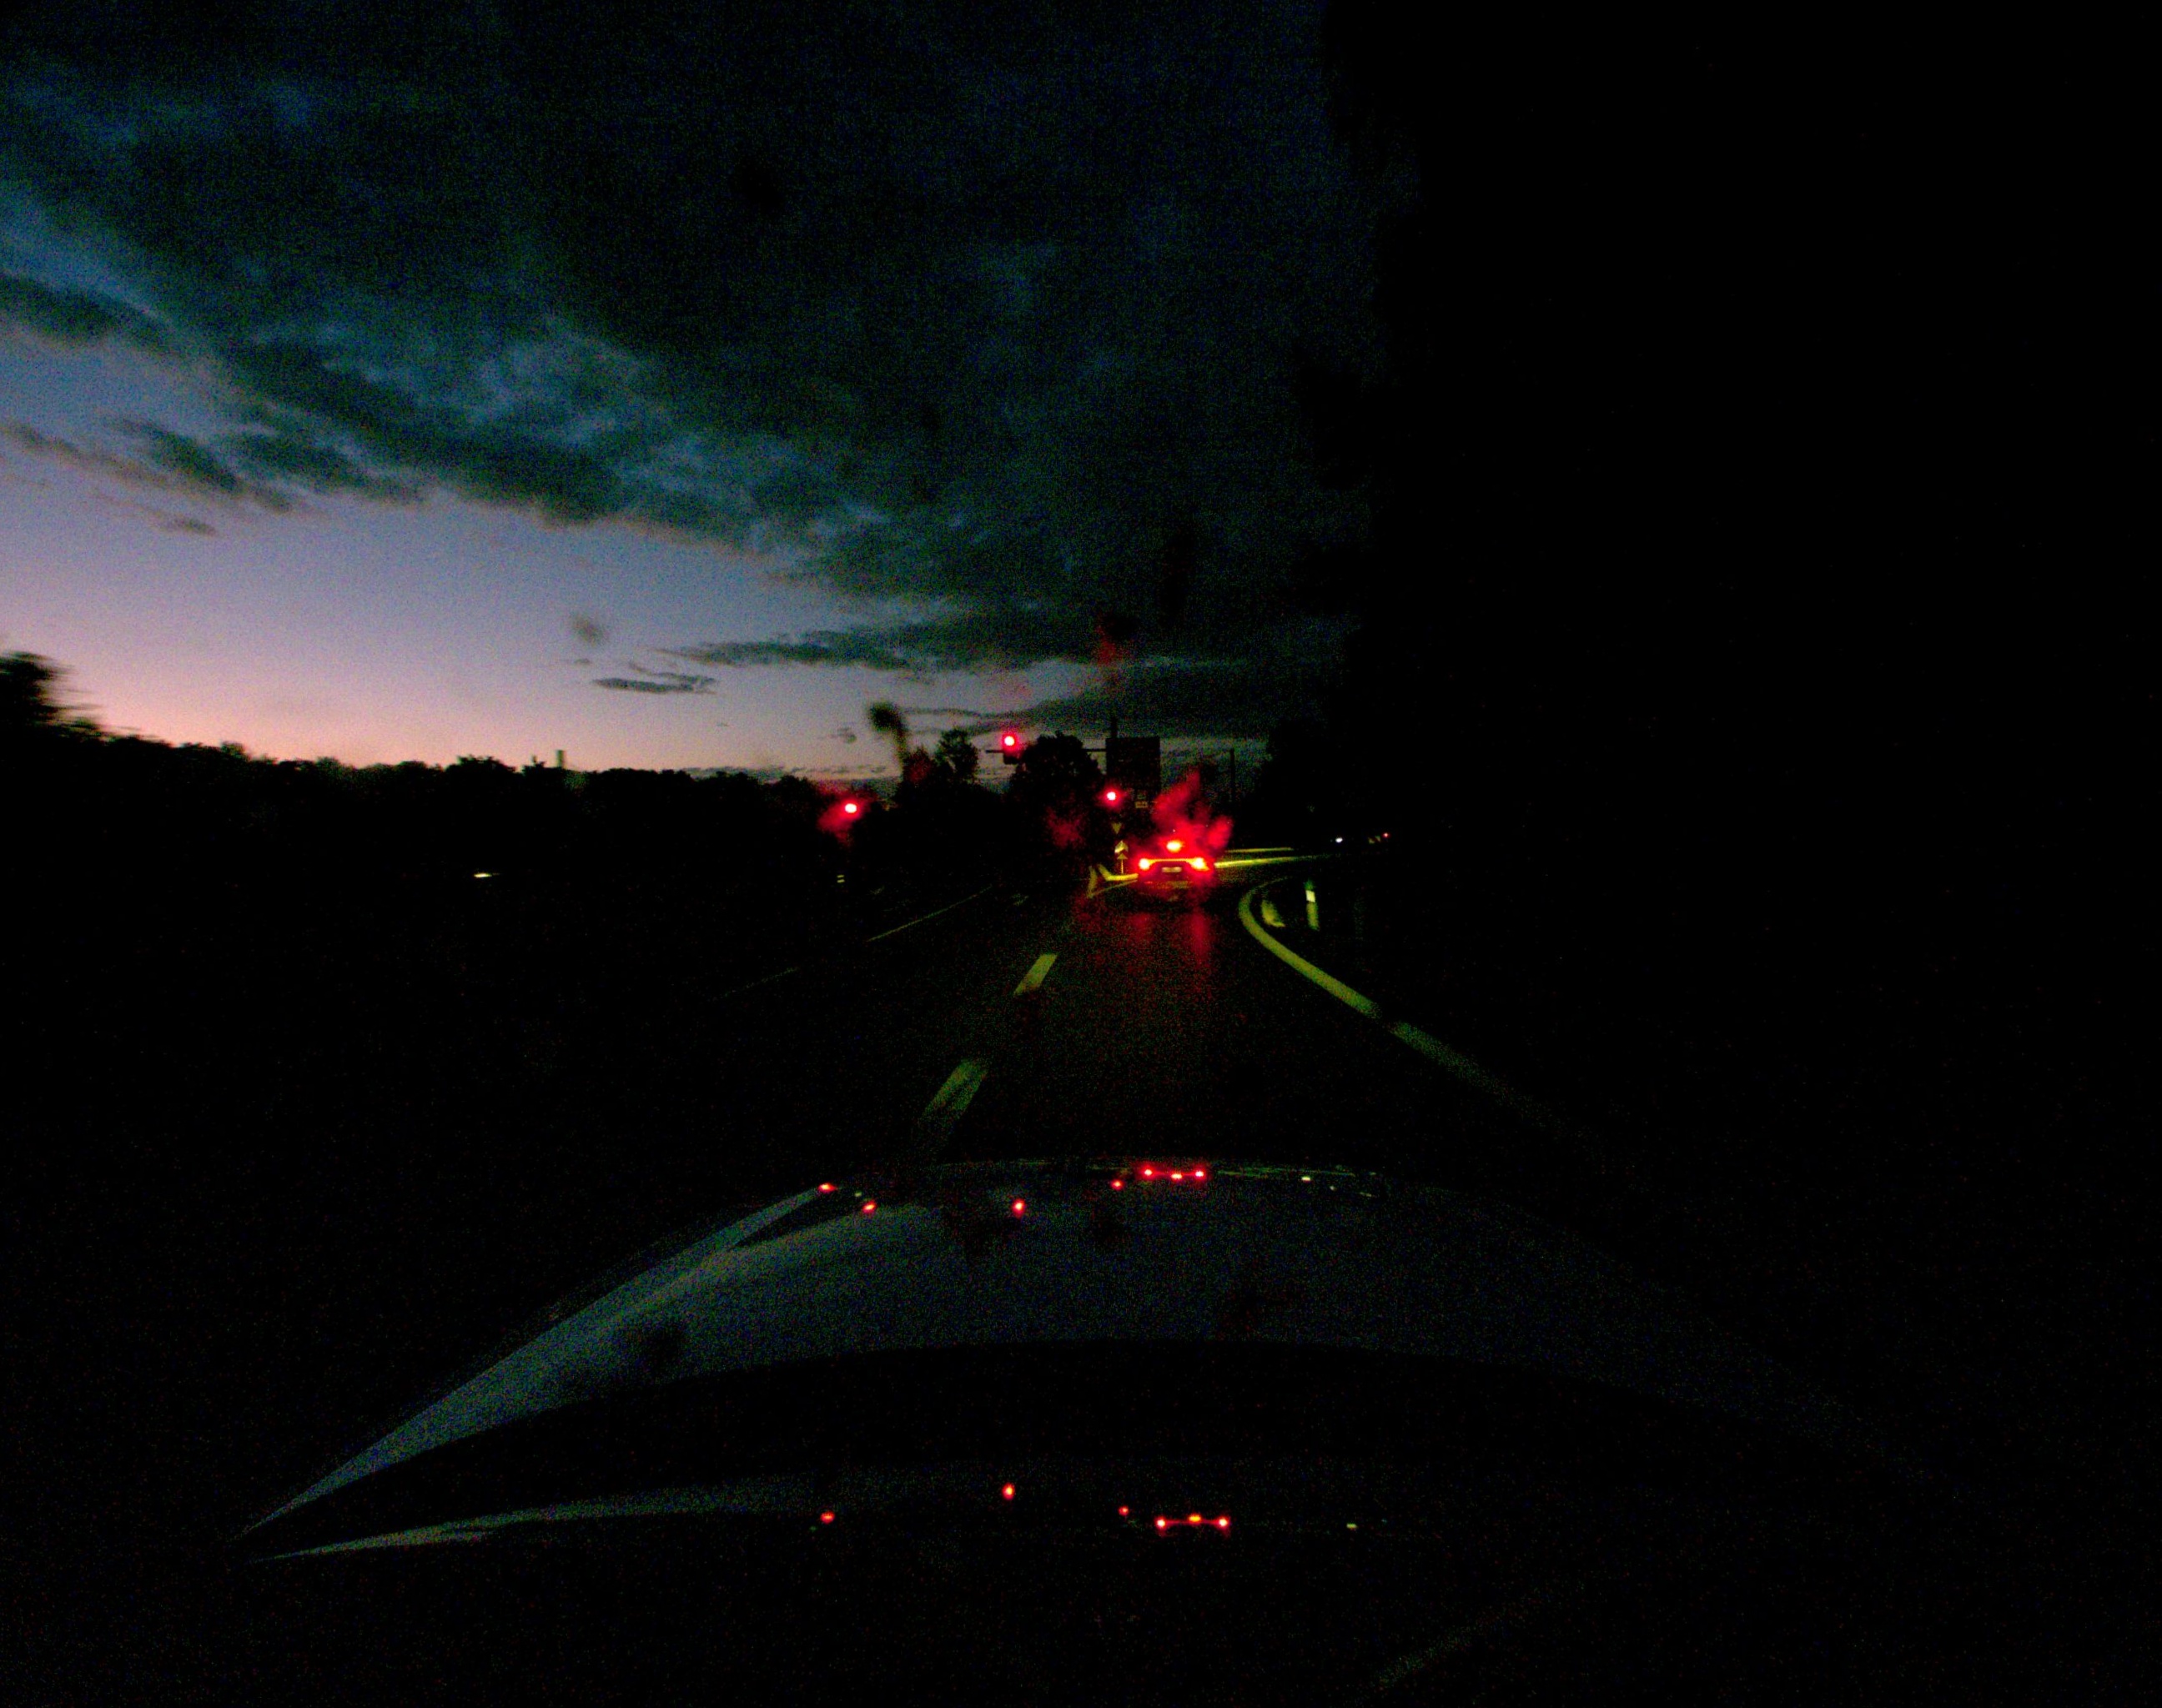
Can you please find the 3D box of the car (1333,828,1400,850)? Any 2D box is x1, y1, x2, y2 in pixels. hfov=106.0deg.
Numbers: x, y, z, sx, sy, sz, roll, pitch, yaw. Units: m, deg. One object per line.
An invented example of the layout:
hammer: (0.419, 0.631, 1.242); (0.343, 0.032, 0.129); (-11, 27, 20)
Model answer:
car: (23.317, -1.212, 66.528); (4.862, 1.682, 1.991); (-1, 0, -13)

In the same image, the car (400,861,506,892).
car: (-33.841, 1.198, 43.996); (3.991, 1.453, 1.991); (-3, 0, -13)

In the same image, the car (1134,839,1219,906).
car: (2.722, 0.411, 22.248); (1.888, 1.619, 4.572); (0, 1, 12)
